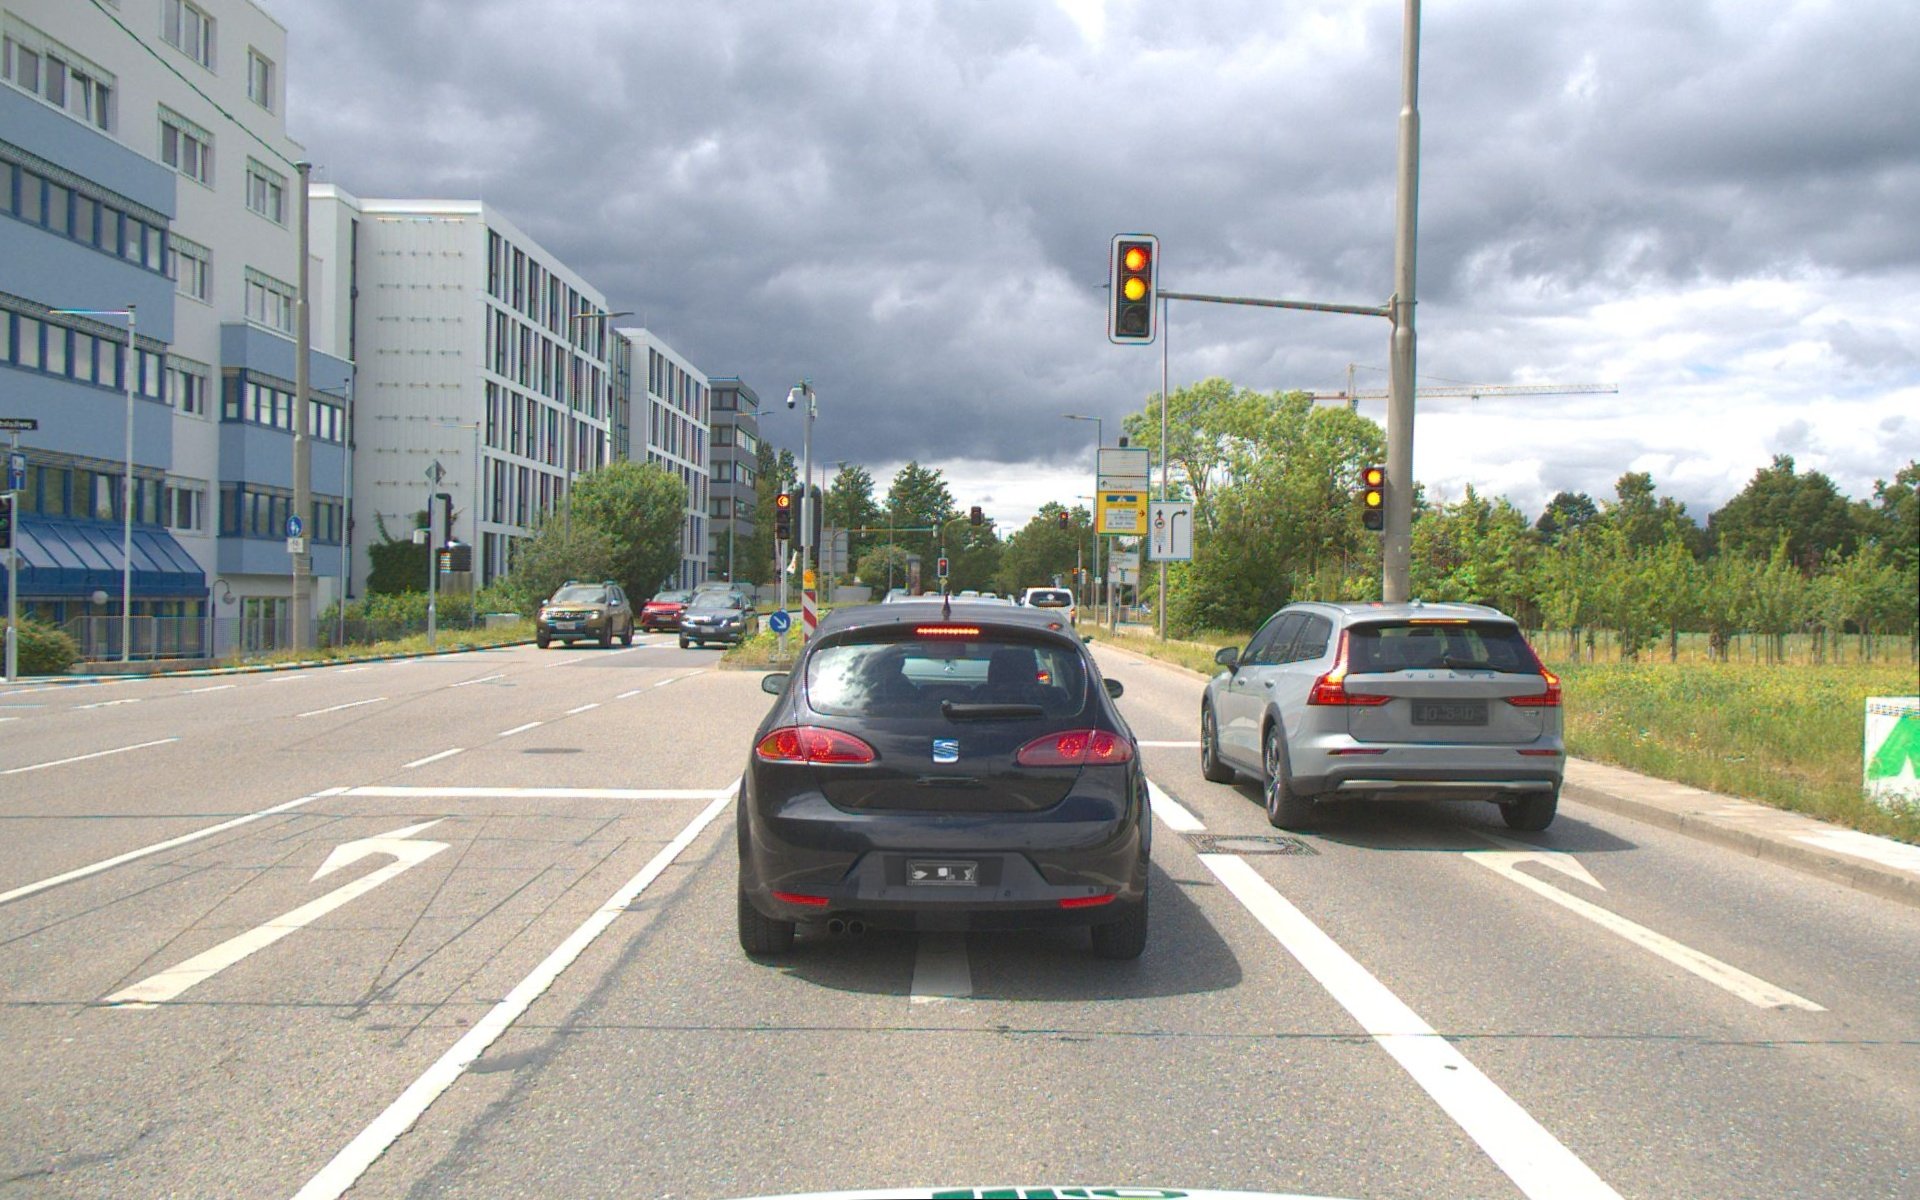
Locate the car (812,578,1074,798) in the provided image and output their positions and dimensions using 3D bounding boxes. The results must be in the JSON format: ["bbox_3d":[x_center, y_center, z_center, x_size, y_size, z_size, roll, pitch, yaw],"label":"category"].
[{"bbox_3d":[-0.179,0.664,14.489,1.943,1.618,4.224,1,0,-2],"label":"car"}]

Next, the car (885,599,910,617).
[{"bbox_3d":[-5.109,0.640,135.859,1.953,1.434,3.999,0,0,-1],"label":"car"}]

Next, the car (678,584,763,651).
[{"bbox_3d":[-6.120,0.414,42.677,1.635,1.551,4.007,-2,1,-1],"label":"car"}]

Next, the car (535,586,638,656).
[{"bbox_3d":[-9.443,0.515,42.100,1.715,1.659,3.999,-1,0,-1],"label":"car"}]

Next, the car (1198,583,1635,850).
[{"bbox_3d":[3.033,0.709,12.016,1.918,1.552,4.339,-1,0,-1],"label":"car"}]

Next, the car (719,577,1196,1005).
[{"bbox_3d":[0.075,0.708,8.068,1.711,1.510,4.001,2,0,2],"label":"car"}]

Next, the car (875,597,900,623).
[{"bbox_3d":[-5.963,0.817,135.781,1.953,2.049,3.999,0,0,-1],"label":"car"}]

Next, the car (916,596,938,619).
[{"bbox_3d":[-3.006,0.699,151.029,1.953,2.049,3.999,0,0,-1],"label":"car"}]

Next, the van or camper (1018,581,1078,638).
[{"bbox_3d":[3.119,0.347,59.288,1.860,1.959,3.999,0,0,-1],"label":"van or camper"}]

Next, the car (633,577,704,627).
[{"bbox_3d":[-9.894,0.089,56.388,1.740,1.640,3.999,0,0,-1],"label":"car"}]
